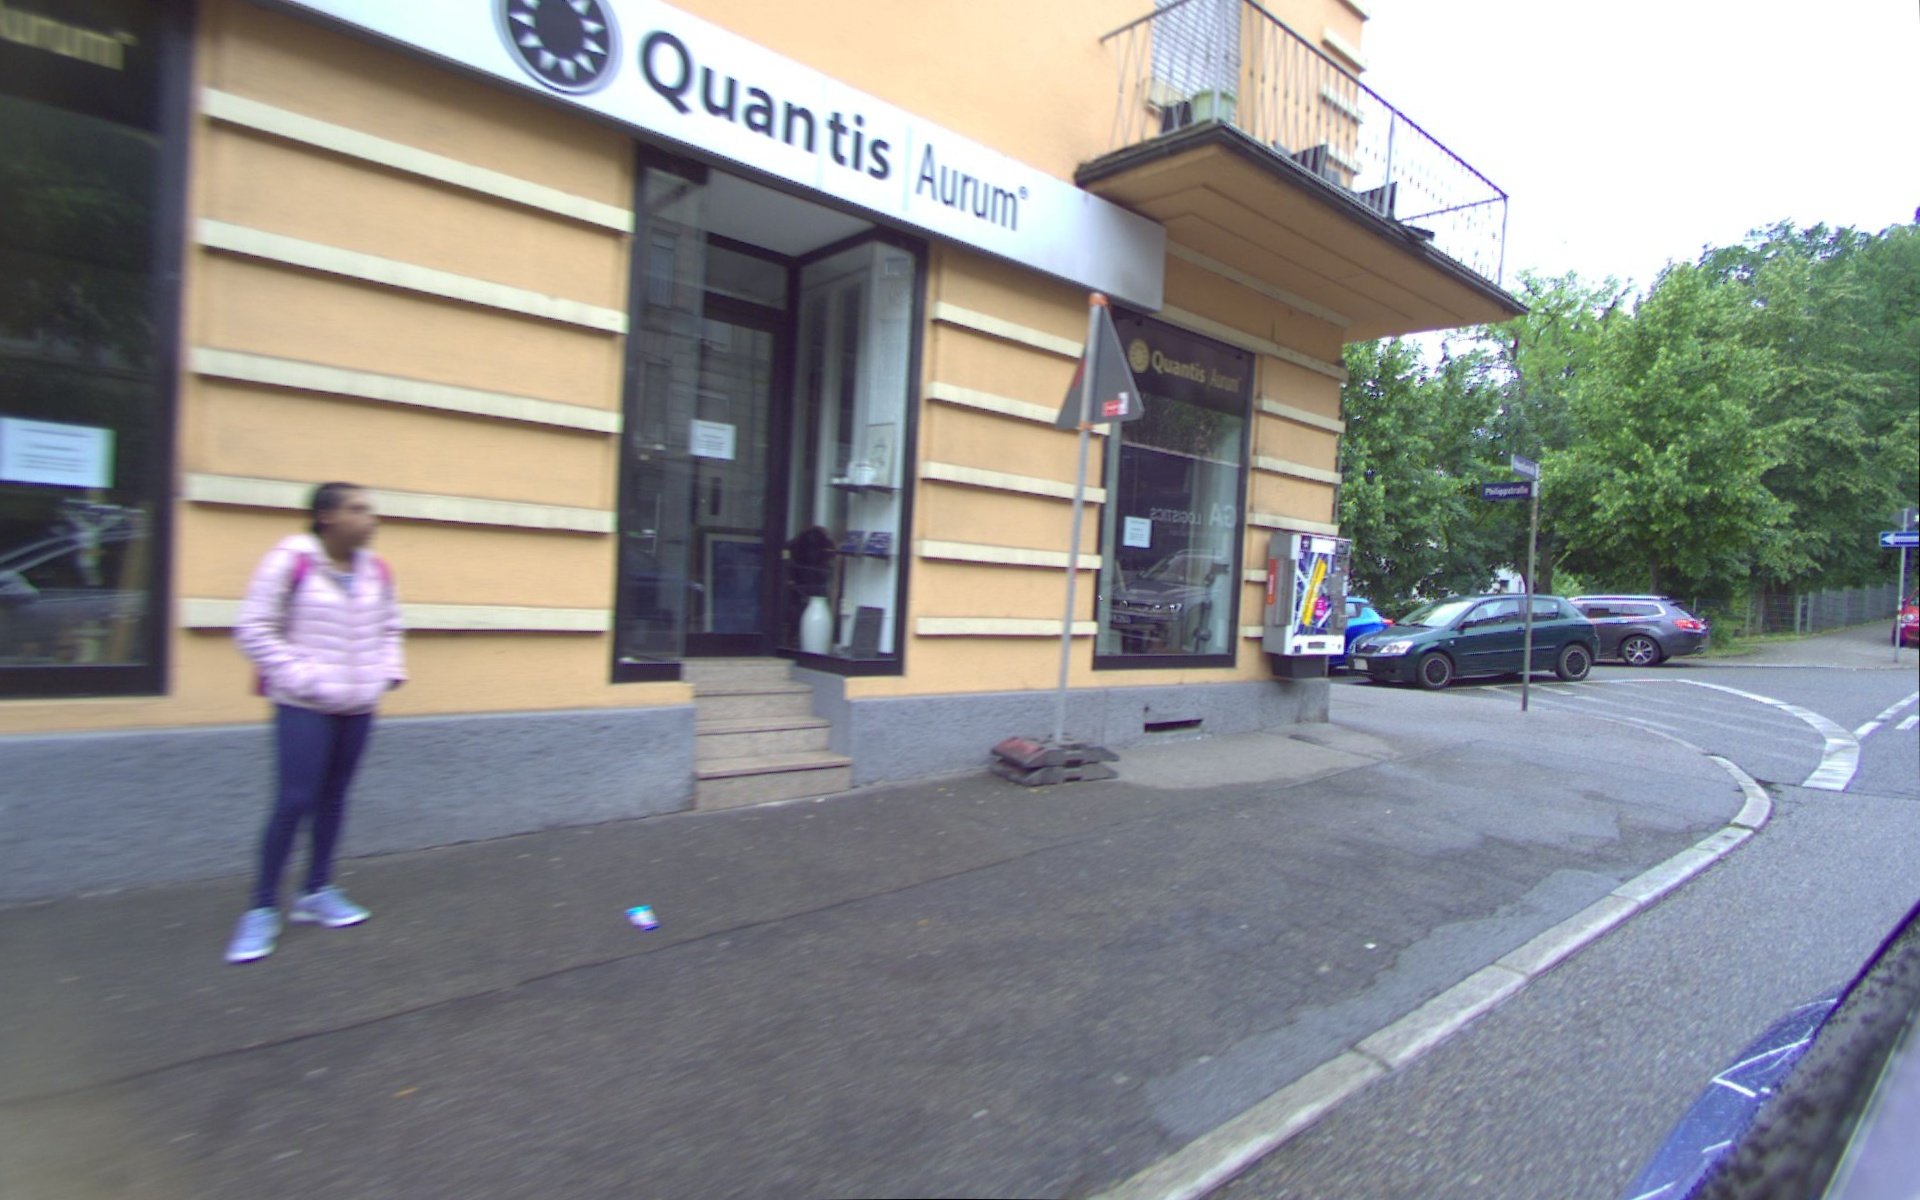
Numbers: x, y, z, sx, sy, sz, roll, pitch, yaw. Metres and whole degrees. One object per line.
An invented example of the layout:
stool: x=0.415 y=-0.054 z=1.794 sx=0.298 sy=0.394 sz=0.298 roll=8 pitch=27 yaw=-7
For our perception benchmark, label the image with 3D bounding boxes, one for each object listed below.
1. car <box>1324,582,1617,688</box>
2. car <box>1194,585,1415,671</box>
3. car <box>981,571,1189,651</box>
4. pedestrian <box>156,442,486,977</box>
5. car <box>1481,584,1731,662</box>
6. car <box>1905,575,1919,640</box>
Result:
car: x=8.502 y=0.531 z=17.022 sx=4.026 sy=1.487 sz=1.858 roll=-2 pitch=1 yaw=-9
car: x=6.436 y=0.499 z=19.036 sx=3.560 sy=1.511 sz=1.712 roll=1 pitch=1 yaw=-14
car: x=2.865 y=0.249 z=23.366 sx=4.444 sy=1.746 sz=1.712 roll=1 pitch=0 yaw=-17
pedestrian: x=-2.207 y=0.304 z=3.529 sx=0.762 sy=1.609 sz=0.704 roll=3 pitch=3 yaw=31
car: x=13.903 y=0.475 z=21.937 sx=1.970 sy=1.517 sz=4.269 roll=1 pitch=-1 yaw=-45
car: x=24.384 y=0.181 z=24.575 sx=3.889 sy=1.520 sz=1.613 roll=-1 pitch=5 yaw=-41
